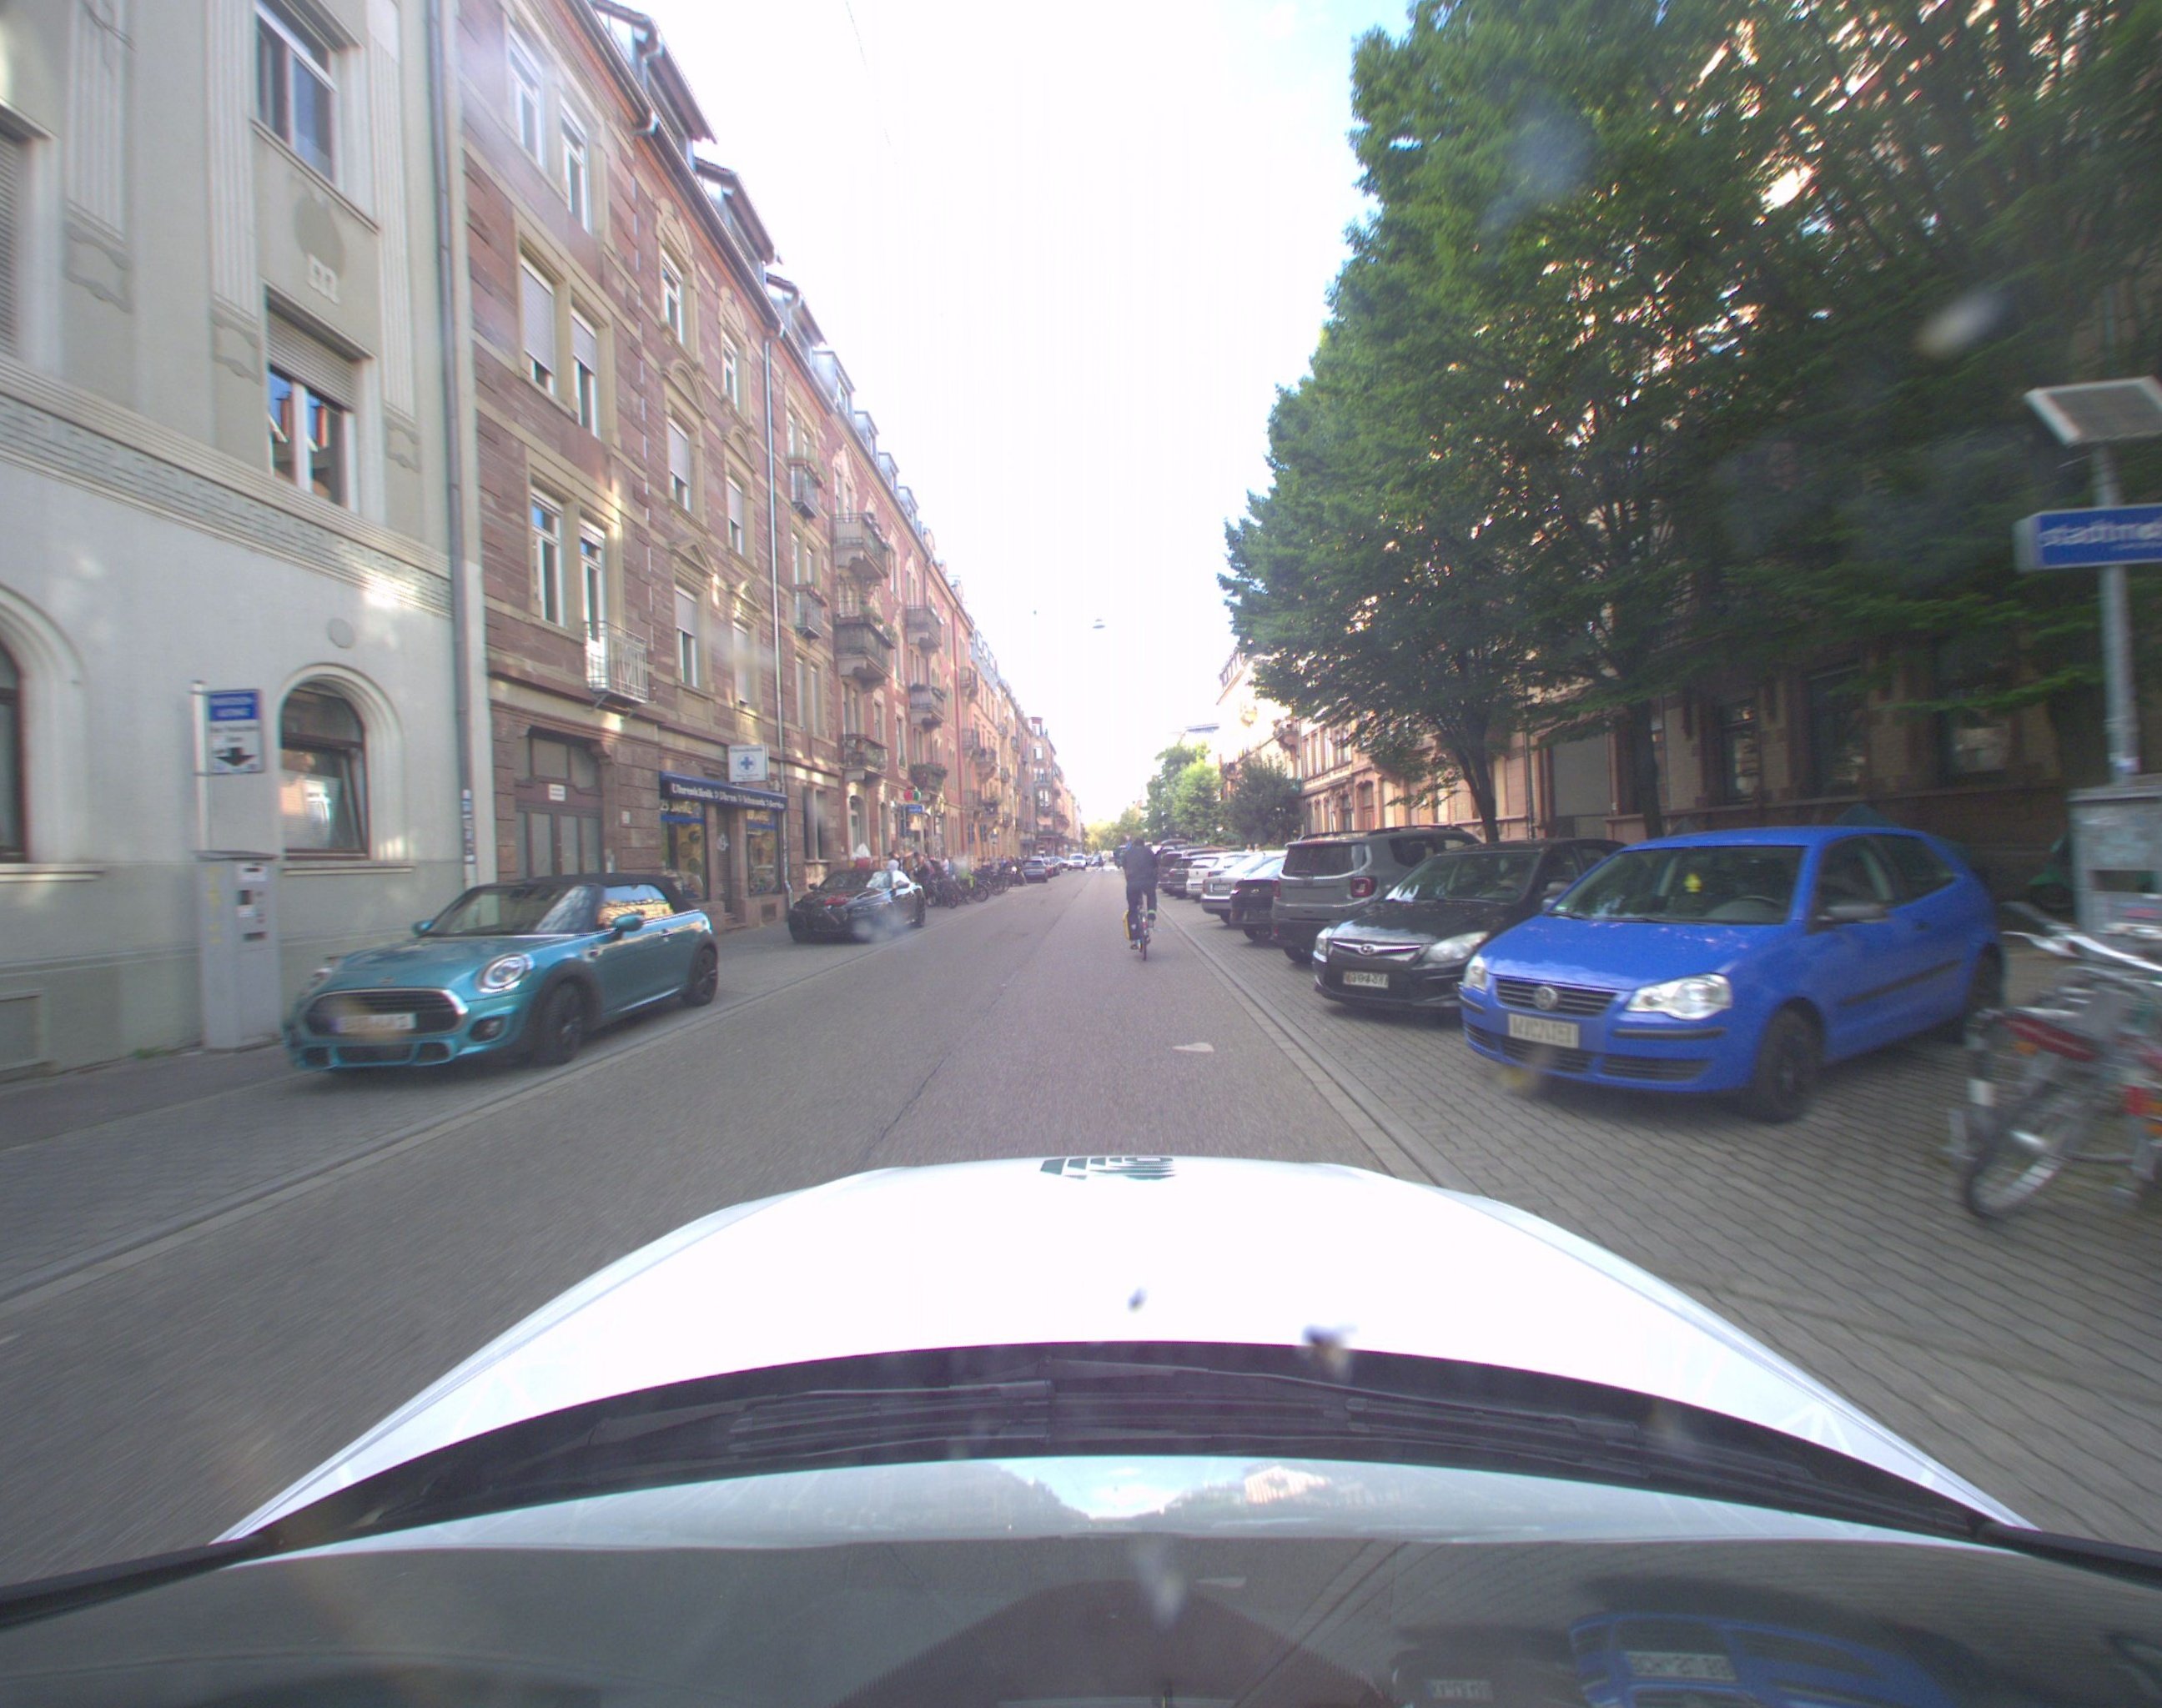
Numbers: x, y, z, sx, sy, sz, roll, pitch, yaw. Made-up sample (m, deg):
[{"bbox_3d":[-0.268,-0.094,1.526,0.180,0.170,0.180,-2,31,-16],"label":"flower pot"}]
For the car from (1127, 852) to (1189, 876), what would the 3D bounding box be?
[{"bbox_3d":[5.881,0.765,62.340,4.486,1.464,1.860,-5,1,-33],"label":"car"}]

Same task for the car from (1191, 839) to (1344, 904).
[{"bbox_3d":[5.283,0.474,22.894,4.017,1.461,1.867,-4,-1,-34],"label":"car"}]

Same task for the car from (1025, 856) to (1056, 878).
[{"bbox_3d":[-3.087,0.975,63.071,1.986,1.545,4.427,-3,-1,1],"label":"car"}]

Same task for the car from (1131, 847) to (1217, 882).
[{"bbox_3d":[5.194,0.550,45.186,4.475,1.732,1.979,-2,0,-33],"label":"car"}]

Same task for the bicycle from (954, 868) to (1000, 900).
[{"bbox_3d":[-3.822,1.092,29.992,1.577,1.120,0.584,-1,0,-35],"label":"bicycle"}]

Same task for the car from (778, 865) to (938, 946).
[{"bbox_3d":[-4.418,0.949,17.035,1.805,1.351,5.116,-2,0,1],"label":"car"}]

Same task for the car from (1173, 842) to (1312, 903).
[{"bbox_3d":[5.027,0.551,25.250,4.014,1.450,1.719,-6,-1,-31],"label":"car"}]

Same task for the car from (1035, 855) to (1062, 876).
[{"bbox_3d":[-2.706,0.951,68.539,1.784,1.628,4.849,-3,-1,2],"label":"car"}]

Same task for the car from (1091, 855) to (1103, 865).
[{"bbox_3d":[2.398,0.988,122.795,1.744,1.436,4.211,-2,-1,0],"label":"car"}]

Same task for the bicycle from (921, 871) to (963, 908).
[{"bbox_3d":[-4.364,1.112,25.483,1.561,1.117,0.376,-2,-1,40],"label":"bicycle"}]

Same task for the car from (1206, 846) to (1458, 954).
[{"bbox_3d":[4.318,0.676,13.793,4.155,1.417,1.849,-3,1,-34],"label":"car"}]

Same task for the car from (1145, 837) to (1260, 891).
[{"bbox_3d":[4.982,0.385,33.179,4.418,1.822,1.738,-4,-1,-30],"label":"car"}]

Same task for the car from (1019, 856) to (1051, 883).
[{"bbox_3d":[-2.891,0.926,51.666,1.820,1.578,5.260,-1,0,-2],"label":"car"}]

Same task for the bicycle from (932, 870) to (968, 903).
[{"bbox_3d":[-4.534,1.115,28.324,0.574,1.090,1.745,-1,0,15],"label":"bicycle"}]

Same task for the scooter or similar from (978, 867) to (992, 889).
[{"bbox_3d":[-4.637,1.148,39.301,0.604,1.055,0.921,-1,0,-3],"label":"scooter or similar"}]

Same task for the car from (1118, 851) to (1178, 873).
[{"bbox_3d":[5.863,0.672,70.765,4.779,1.456,2.039,-5,1,-27],"label":"car"}]

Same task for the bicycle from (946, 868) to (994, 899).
[{"bbox_3d":[-4.230,1.132,31.204,1.745,1.120,0.549,-1,0,-35],"label":"bicycle"}]

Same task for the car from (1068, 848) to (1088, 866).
[{"bbox_3d":[-0.318,0.348,90.304,1.910,1.828,4.440,-1,0,2],"label":"car"}]

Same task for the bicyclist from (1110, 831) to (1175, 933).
[{"bbox_3d":[0.921,0.416,12.404,0.930,1.484,0.747,-1,0,1],"label":"bicyclist"}]

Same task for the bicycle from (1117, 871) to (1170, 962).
[{"bbox_3d":[0.908,0.877,12.290,0.663,1.178,2.498,-1,0,2],"label":"bicycle"}]

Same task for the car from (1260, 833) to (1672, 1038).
[{"bbox_3d":[3.904,0.605,8.039,4.143,1.521,1.825,-1,-1,-35],"label":"car"}]

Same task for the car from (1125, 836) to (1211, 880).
[{"bbox_3d":[5.485,0.229,50.910,5.178,2.405,1.899,-3,0,-32],"label":"car"}]

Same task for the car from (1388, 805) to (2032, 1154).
[{"bbox_3d":[4.208,0.548,5.395,4.008,1.438,1.710,-4,0,-26],"label":"car"}]

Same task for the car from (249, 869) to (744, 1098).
[{"bbox_3d":[-4.718,0.896,7.434,1.665,1.415,4.009,-1,0,-2],"label":"car"}]

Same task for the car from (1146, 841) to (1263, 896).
[{"bbox_3d":[4.641,0.510,30.535,4.012,1.741,1.822,-4,0,-29],"label":"car"}]

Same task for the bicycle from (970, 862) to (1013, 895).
[{"bbox_3d":[-3.706,0.998,33.827,1.684,1.322,0.522,-1,0,-34],"label":"bicycle"}]

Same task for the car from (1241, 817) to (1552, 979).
[{"bbox_3d":[4.274,0.454,10.864,4.016,1.699,1.833,-3,1,-33],"label":"car"}]

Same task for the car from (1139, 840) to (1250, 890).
[{"bbox_3d":[5.052,0.471,36.641,4.621,1.784,1.810,-5,2,0],"label":"car"}]

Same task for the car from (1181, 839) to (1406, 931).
[{"bbox_3d":[4.527,0.583,17.127,4.627,1.451,1.775,-4,0,-31],"label":"car"}]

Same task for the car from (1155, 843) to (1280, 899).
[{"bbox_3d":[4.707,0.576,27.956,4.018,1.548,1.848,-5,1,-36],"label":"car"}]

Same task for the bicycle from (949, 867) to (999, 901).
[{"bbox_3d":[-4.018,1.107,30.612,1.798,1.200,0.584,-1,0,-35],"label":"bicycle"}]
